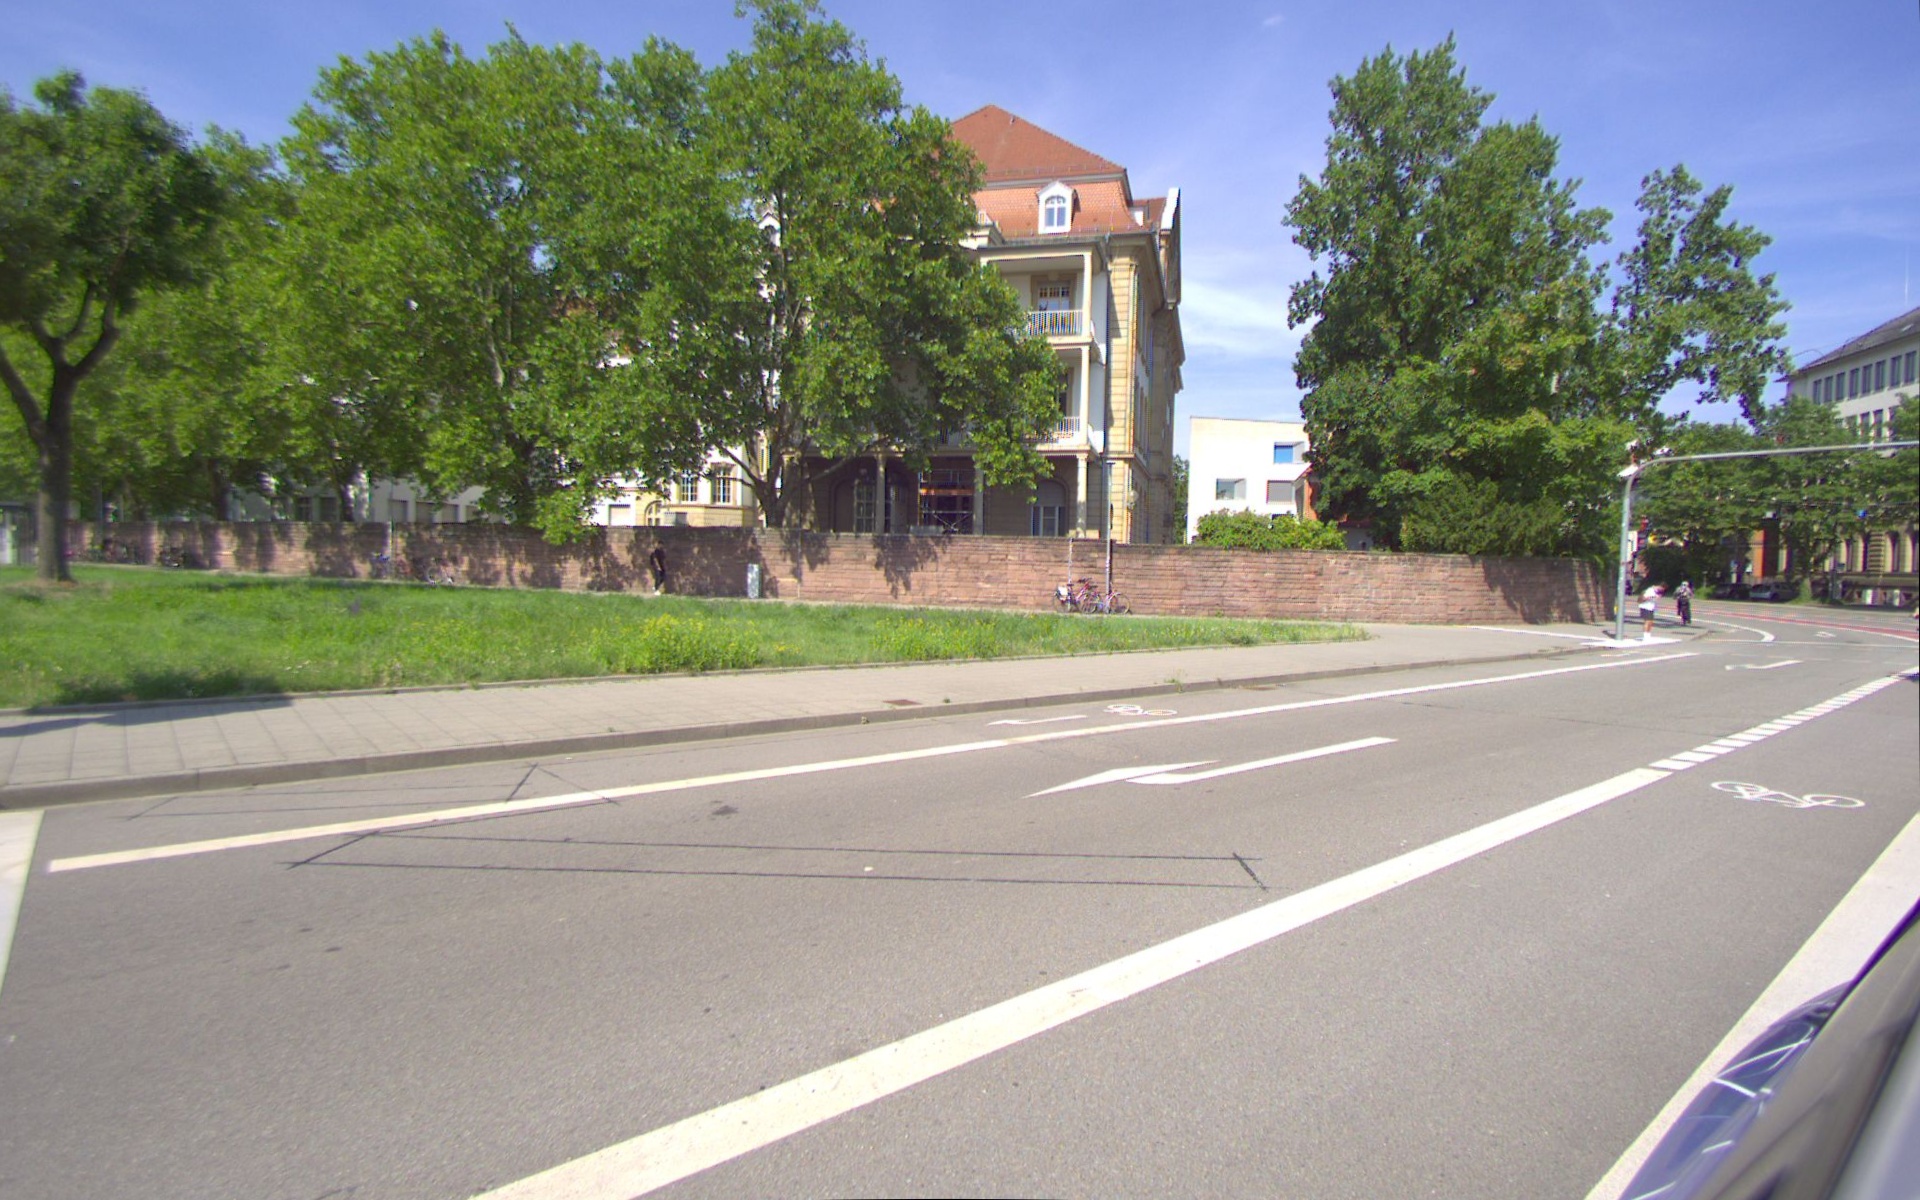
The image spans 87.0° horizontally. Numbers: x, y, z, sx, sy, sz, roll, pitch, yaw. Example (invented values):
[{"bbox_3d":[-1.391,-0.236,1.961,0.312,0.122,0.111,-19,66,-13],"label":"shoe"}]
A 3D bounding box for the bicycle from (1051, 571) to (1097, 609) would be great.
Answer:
[{"bbox_3d":[3.488,-0.297,30.960,1.406,1.136,0.350,0,2,-27],"label":"bicycle"}]

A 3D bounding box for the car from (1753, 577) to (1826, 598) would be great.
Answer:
[{"bbox_3d":[66.120,-0.978,80.702,3.941,1.482,1.992,2,2,14],"label":"car"}]

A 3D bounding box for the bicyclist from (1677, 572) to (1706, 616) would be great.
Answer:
[{"bbox_3d":[29.030,-0.249,40.159,0.903,1.675,0.679,0,3,-41],"label":"bicyclist"}]

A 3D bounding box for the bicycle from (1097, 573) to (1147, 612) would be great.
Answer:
[{"bbox_3d":[4.967,-0.229,31.045,1.406,1.136,0.350,1,2,-6],"label":"bicycle"}]

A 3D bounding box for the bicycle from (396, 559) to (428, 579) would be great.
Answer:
[{"bbox_3d":[-21.407,-1.226,39.534,1.350,0.737,0.338,3,2,23],"label":"bicycle"}]

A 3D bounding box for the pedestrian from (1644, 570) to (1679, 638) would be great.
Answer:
[{"bbox_3d":[20.236,0.091,29.200,0.649,1.897,0.788,4,3,31],"label":"pedestrian"}]

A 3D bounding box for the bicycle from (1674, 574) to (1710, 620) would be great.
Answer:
[{"bbox_3d":[29.077,-0.136,40.190,1.779,1.787,0.679,0,3,-41],"label":"bicycle"}]

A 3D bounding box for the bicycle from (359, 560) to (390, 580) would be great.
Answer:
[{"bbox_3d":[-23.124,-1.186,39.971,1.350,0.737,0.338,3,2,23],"label":"bicycle"}]

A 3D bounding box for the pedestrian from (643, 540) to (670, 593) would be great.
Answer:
[{"bbox_3d":[-10.405,-1.147,34.702,0.592,1.761,0.616,2,2,20],"label":"pedestrian"}]

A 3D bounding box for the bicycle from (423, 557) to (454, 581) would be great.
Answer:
[{"bbox_3d":[-20.025,-1.205,38.849,1.294,0.866,0.369,3,2,25],"label":"bicycle"}]

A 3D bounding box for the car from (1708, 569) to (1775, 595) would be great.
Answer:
[{"bbox_3d":[66.454,-1.573,86.156,3.941,2.038,1.992,2,2,14],"label":"car"}]
